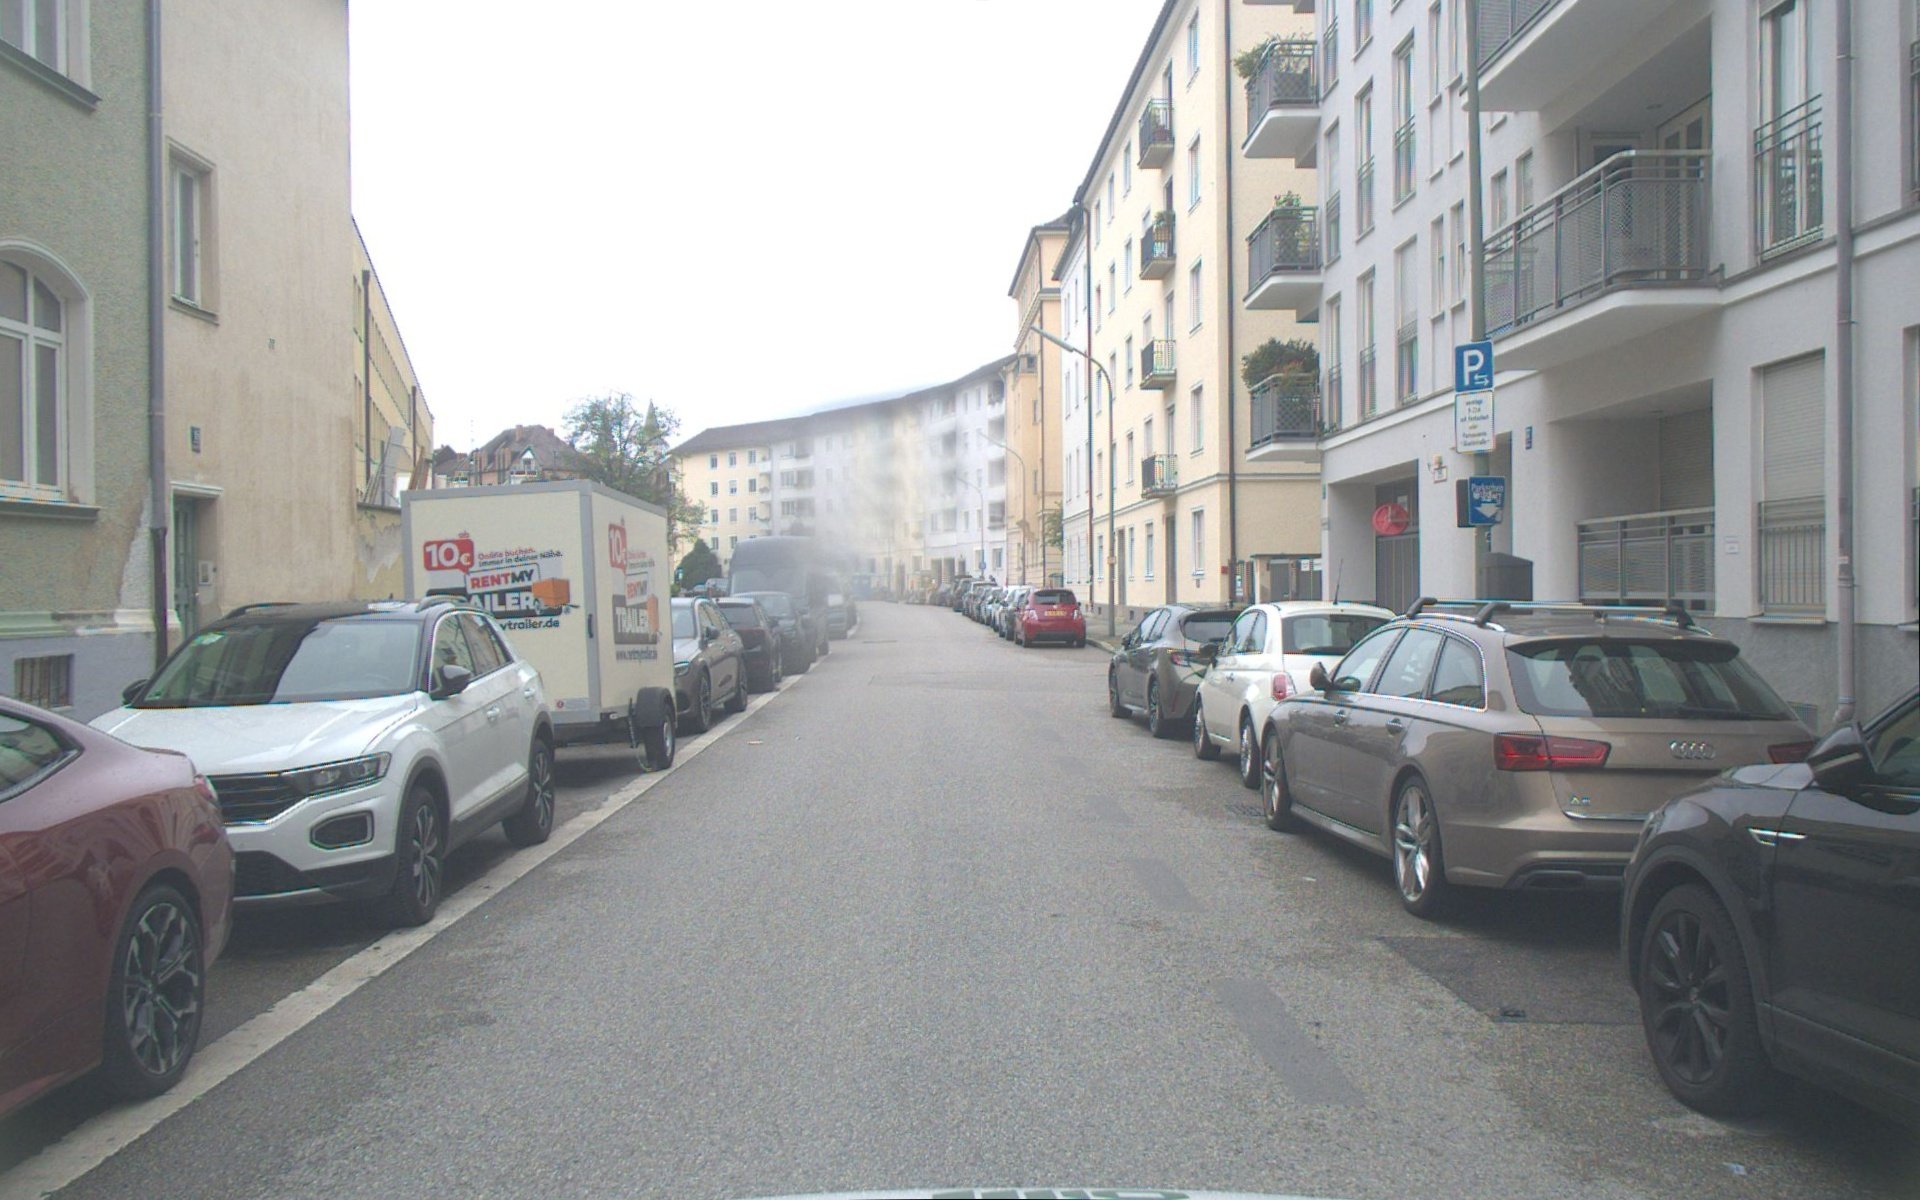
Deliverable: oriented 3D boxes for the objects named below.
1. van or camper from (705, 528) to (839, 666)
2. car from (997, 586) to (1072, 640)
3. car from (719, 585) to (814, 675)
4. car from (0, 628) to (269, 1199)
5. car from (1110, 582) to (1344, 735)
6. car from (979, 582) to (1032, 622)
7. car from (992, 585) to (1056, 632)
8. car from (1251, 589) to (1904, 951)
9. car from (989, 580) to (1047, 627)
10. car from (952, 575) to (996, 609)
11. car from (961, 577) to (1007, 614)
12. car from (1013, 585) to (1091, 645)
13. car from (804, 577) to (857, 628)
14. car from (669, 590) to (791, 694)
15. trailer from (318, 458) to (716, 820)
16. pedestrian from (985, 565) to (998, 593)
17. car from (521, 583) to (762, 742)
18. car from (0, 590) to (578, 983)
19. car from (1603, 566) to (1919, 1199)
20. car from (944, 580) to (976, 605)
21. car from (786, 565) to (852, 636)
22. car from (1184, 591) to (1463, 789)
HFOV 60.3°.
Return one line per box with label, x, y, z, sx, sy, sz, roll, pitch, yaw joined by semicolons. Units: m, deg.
van or camper;-4.036;-0.100;36.518;2.246;2.697;5.561;-3;1;0
car;2.121;0.345;48.161;1.737;1.454;4.613;0;1;-3
car;-3.621;0.519;31.502;1.620;1.523;3.905;-3;1;-5
car;-3.264;0.860;3.646;1.710;1.392;4.401;-2;1;-2
car;2.900;0.568;18.871;1.736;1.501;4.215;0;1;-4
car;1.733;0.052;63.975;1.690;1.475;4.185;0;1;-4
car;2.035;0.246;53.732;1.690;1.454;4.291;0;1;-3
car;3.028;0.709;9.301;1.755;1.508;4.601;1;0;-3
car;2.025;0.101;58.661;1.618;1.570;3.990;0;1;-4
car;0.725;-0.437;89.013;2.126;1.769;5.022;0;1;-2
car;1.116;-0.252;78.761;1.810;1.692;4.495;0;1;-4
car;2.365;0.367;43.190;1.622;1.454;3.754;0;1;-3
car;-4.659;0.058;59.793;1.680;1.719;4.139;-2;1;-2
car;-3.653;0.612;26.900;1.642;1.461;4.283;-3;1;-4
trailer;-3.558;0.263;14.294;1.935;2.514;4.578;-3;0;2
pedestrian;1.982;-1.346;103.993;0.605;1.719;0.919;-4;0;-2
car;-3.662;0.633;19.994;1.825;1.568;5.092;-2;1;1
car;-3.349;0.774;9.051;1.645;1.557;4.106;-2;1;-2
car;3.241;0.713;3.721;1.801;1.559;4.018;1;1;-4
car;-0.007;-0.444;99.197;1.599;1.442;3.676;0;1;-5
car;-4.229;-0.036;49.482;1.878;1.994;4.956;0;1;-5
car;3.086;0.690;14.755;1.584;1.492;3.746;0;1;-1
